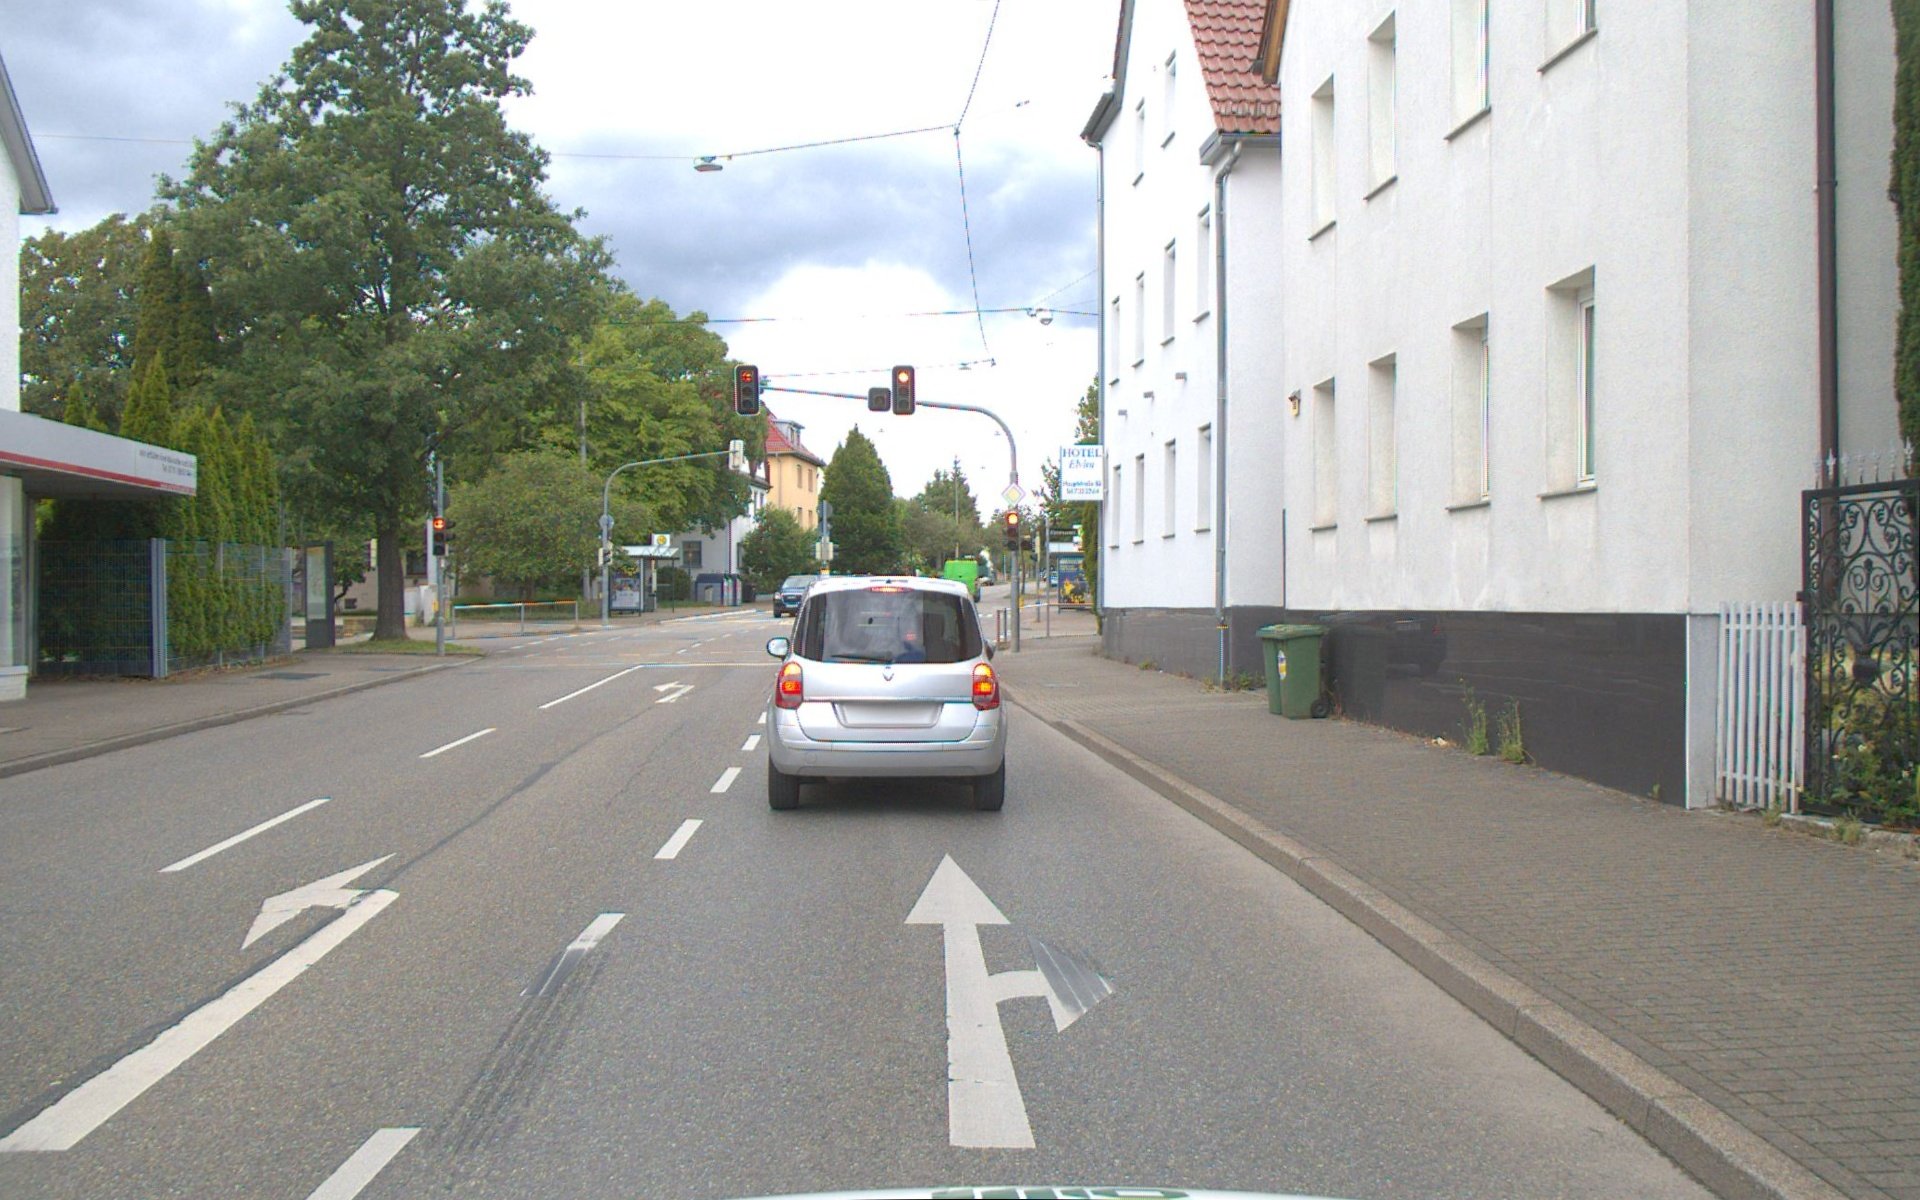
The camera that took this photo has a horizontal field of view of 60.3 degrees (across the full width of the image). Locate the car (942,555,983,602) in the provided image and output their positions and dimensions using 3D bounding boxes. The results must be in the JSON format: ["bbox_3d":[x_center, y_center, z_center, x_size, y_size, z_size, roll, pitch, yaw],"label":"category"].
[{"bbox_3d":[0.178,-1.207,93.640,2.016,2.556,5.598,1,0,3],"label":"car"}]

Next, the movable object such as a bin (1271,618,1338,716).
[{"bbox_3d":[3.558,0.686,17.102,0.529,0.957,0.487,-3,0,-3],"label":"movable object such as a bin"}]

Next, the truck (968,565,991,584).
[{"bbox_3d":[2.155,-2.788,181.439,2.057,2.049,5.752,1,0,6],"label":"truck"}]

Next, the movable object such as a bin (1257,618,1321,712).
[{"bbox_3d":[3.502,0.683,17.636,0.529,0.957,0.487,-3,0,-3],"label":"movable object such as a bin"}]

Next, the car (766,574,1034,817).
[{"bbox_3d":[-0.510,0.611,12.661,1.720,1.557,3.997,1,0,-4],"label":"car"}]

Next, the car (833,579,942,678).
[{"bbox_3d":[-1.267,0.446,28.131,1.720,1.557,3.794,1,0,-4],"label":"car"}]

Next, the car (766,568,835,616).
[{"bbox_3d":[-6.556,-0.347,68.425,1.885,1.804,4.003,-4,0,7],"label":"car"}]
